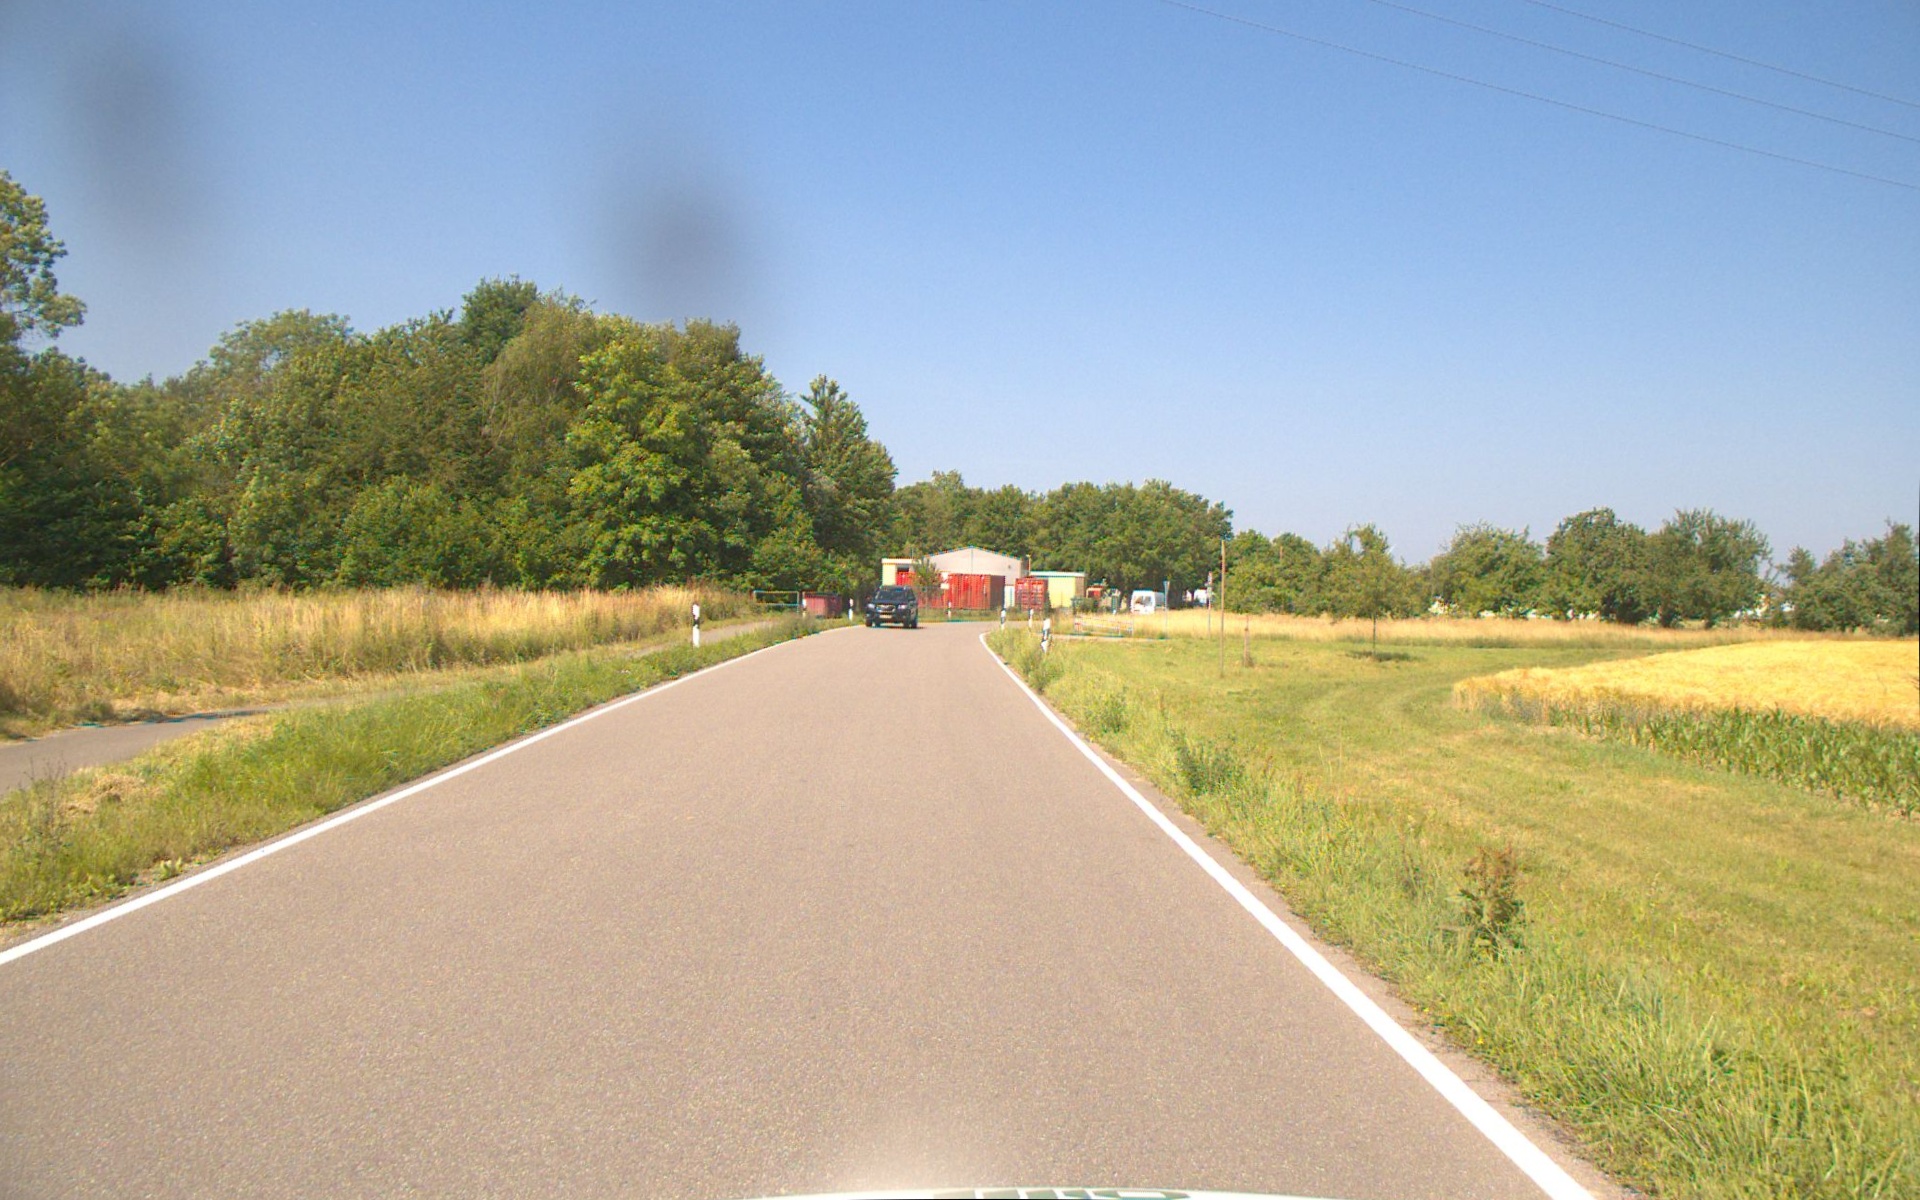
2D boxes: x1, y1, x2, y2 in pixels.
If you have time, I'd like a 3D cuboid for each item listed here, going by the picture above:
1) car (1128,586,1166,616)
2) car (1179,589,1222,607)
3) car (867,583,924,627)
[{"bbox_3d":[14.661,0.100,129.423,1.952,2.306,4.727,1,0,19],"label":"car"},{"bbox_3d":[32.653,-0.319,224.598,5.510,2.306,1.989,1,0,-19],"label":"car"},{"bbox_3d":[-2.715,0.201,70.456,1.826,1.783,4.299,1,0,5],"label":"car"}]
